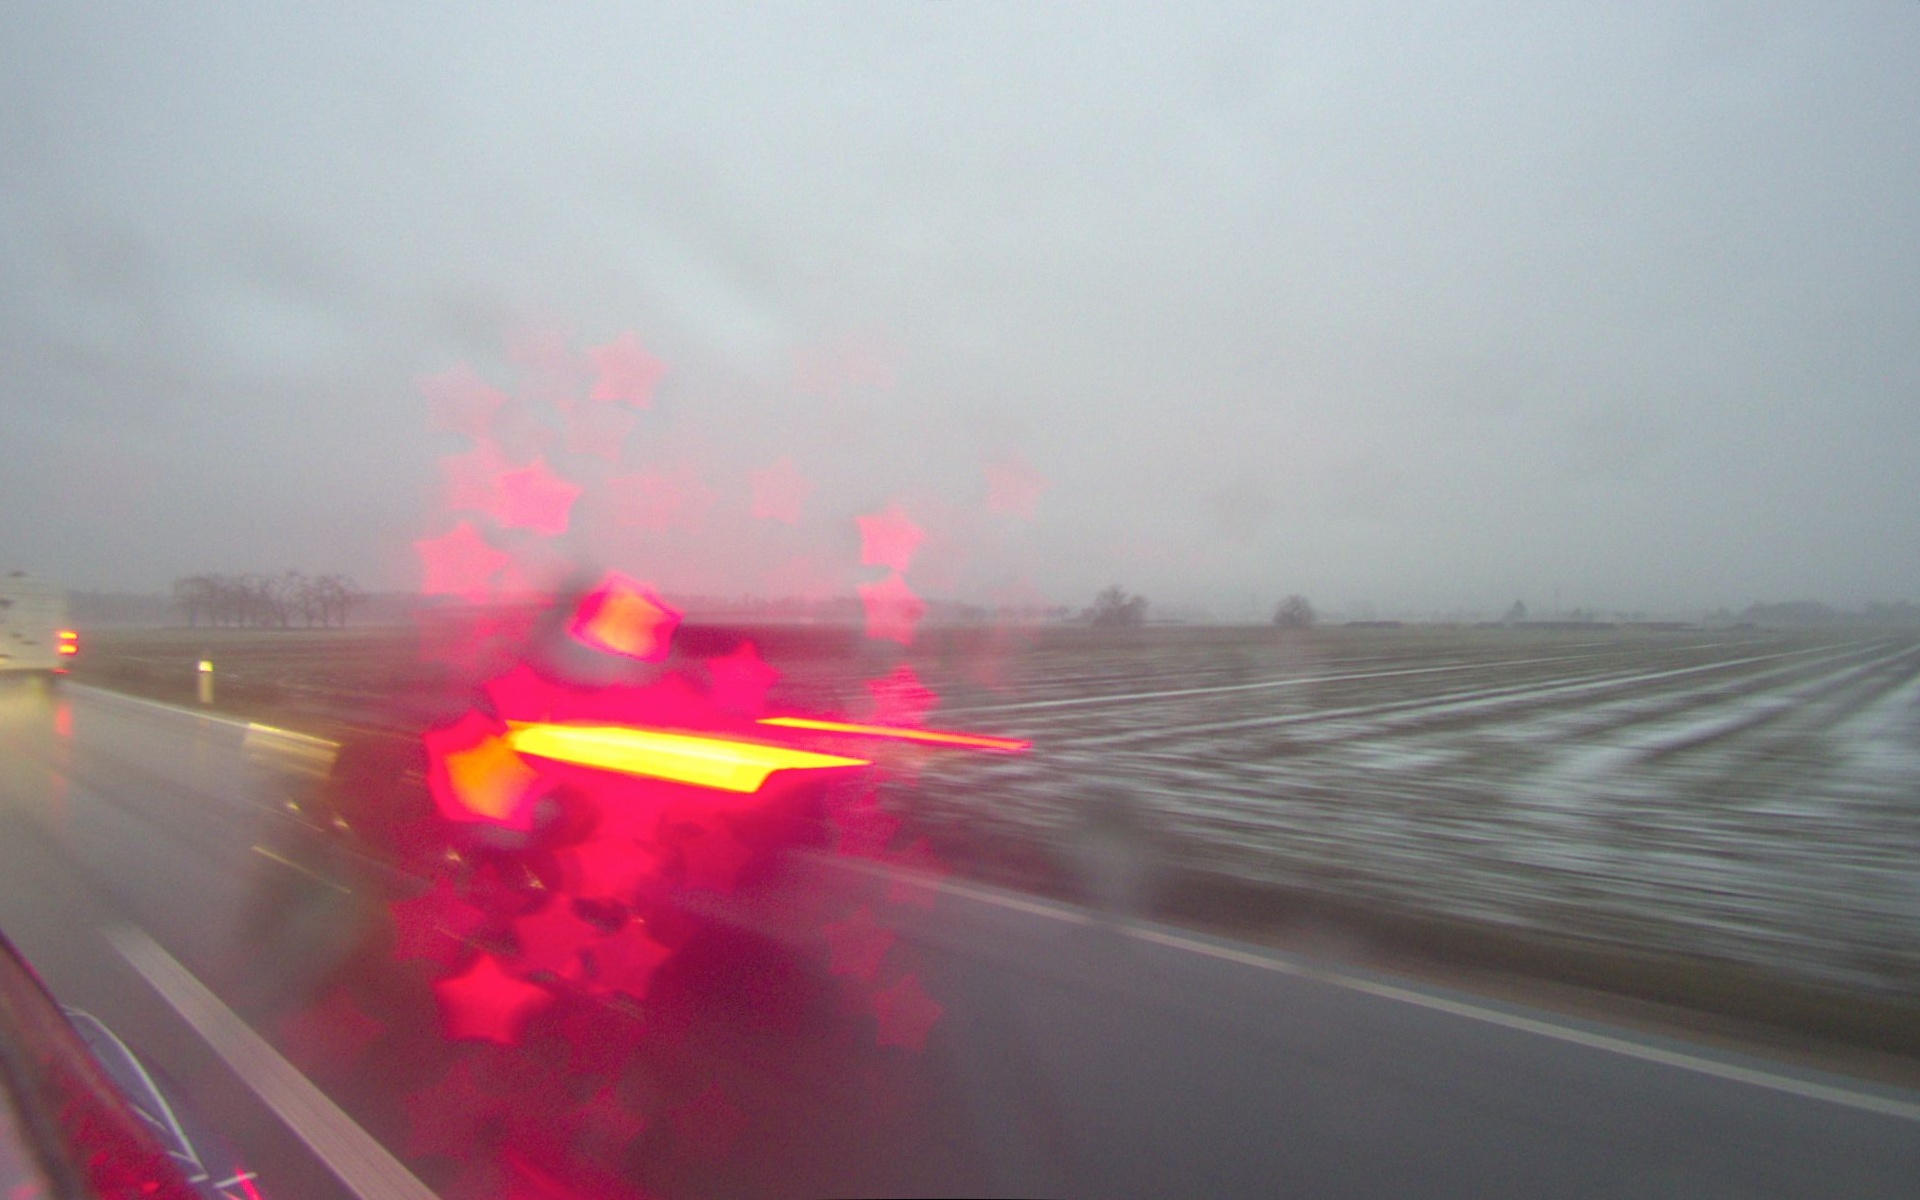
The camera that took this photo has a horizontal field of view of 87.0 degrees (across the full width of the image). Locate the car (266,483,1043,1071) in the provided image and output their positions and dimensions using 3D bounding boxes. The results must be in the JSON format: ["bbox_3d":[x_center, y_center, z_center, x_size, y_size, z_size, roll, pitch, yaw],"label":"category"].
[{"bbox_3d":[-1.772,0.627,5.245,3.997,1.837,1.973,-1,-4,40],"label":"car"}]

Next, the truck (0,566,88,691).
[{"bbox_3d":[-22.917,0.680,23.980,7.030,2.655,2.246,-1,-4,41],"label":"truck"}]
